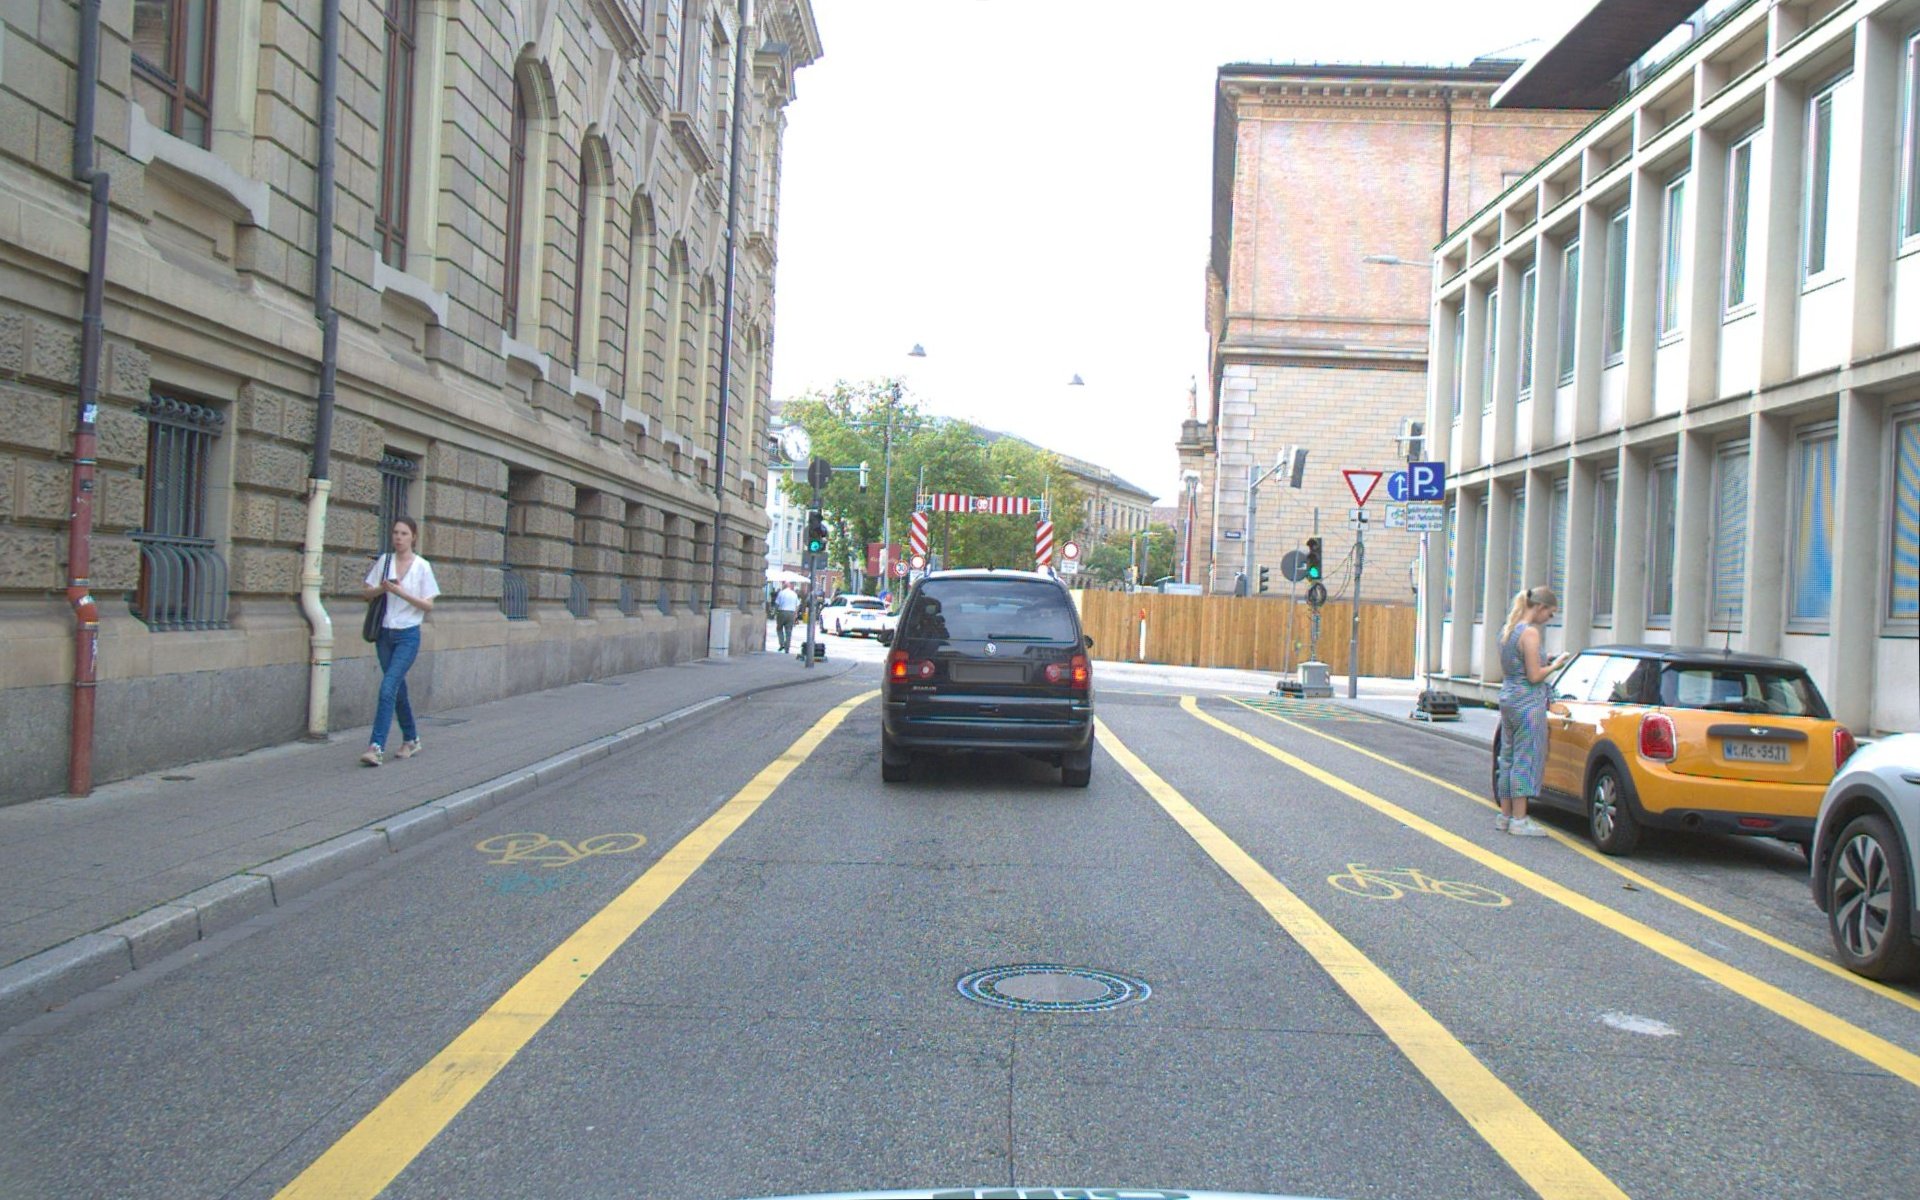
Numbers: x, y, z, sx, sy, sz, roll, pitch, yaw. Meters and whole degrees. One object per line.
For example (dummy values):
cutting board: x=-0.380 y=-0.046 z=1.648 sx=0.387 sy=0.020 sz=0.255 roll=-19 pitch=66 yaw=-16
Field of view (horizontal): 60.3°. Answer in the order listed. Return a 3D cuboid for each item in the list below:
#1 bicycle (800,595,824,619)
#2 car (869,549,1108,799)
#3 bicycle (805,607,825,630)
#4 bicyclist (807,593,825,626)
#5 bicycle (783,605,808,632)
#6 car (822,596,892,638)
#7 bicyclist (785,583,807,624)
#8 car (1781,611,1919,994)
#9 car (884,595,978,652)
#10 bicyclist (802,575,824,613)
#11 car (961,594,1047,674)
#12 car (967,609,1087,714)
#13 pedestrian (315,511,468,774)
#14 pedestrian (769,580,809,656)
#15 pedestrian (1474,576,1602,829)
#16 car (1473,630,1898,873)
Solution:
bicycle: x=-7.308 y=0.332 z=81.593 sx=0.948 sy=1.131 sz=2.783 roll=2 pitch=-1 yaw=-10
car: x=0.314 y=0.584 z=14.669 sx=1.752 sy=1.821 sz=4.104 roll=3 pitch=-1 yaw=3
bicycle: x=-6.860 y=0.875 z=78.288 sx=0.722 sy=1.026 sz=2.063 roll=2 pitch=-1 yaw=-11
bicyclist: x=-6.820 y=0.447 z=78.160 sx=0.722 sy=1.495 sz=0.806 roll=2 pitch=-1 yaw=-11
bicycle: x=-6.710 y=0.749 z=67.496 sx=0.722 sy=1.026 sz=2.062 roll=2 pitch=-1 yaw=-13
car: x=-3.612 y=0.574 z=57.469 sx=1.623 sy=1.344 sz=3.658 roll=2 pitch=-1 yaw=-17
bicyclist: x=-6.694 y=0.128 z=67.519 sx=0.722 sy=1.640 sz=0.692 roll=2 pitch=-1 yaw=-14
car: x=5.009 y=0.935 z=6.060 sx=1.822 sy=1.632 sz=4.513 roll=5 pitch=0 yaw=3
car: x=-0.884 y=0.665 z=48.096 sx=1.676 sy=1.527 sz=3.981 roll=2 pitch=-1 yaw=-17
bicyclist: x=-7.267 y=-0.275 z=81.535 sx=0.948 sy=1.814 sz=0.984 roll=2 pitch=-1 yaw=-10
car: x=0.914 y=0.741 z=36.547 sx=1.737 sy=1.613 sz=3.999 roll=2 pitch=-1 yaw=0
car: x=1.016 y=0.938 z=26.752 sx=1.644 sy=1.494 sz=4.102 roll=3 pitch=-1 yaw=-1
pedestrian: x=-4.235 y=0.310 z=12.396 sx=0.650 sy=1.851 sz=1.048 roll=4 pitch=-1 yaw=0
pedestrian: x=-4.317 y=0.460 z=41.790 sx=0.776 sy=1.851 sz=1.048 roll=4 pitch=-1 yaw=0
pedestrian: x=4.274 y=0.743 z=12.278 sx=0.683 sy=1.794 sz=0.706 roll=2 pitch=-1 yaw=3
car: x=5.314 y=1.015 z=12.688 sx=1.645 sy=1.460 sz=3.887 roll=3 pitch=-1 yaw=3
